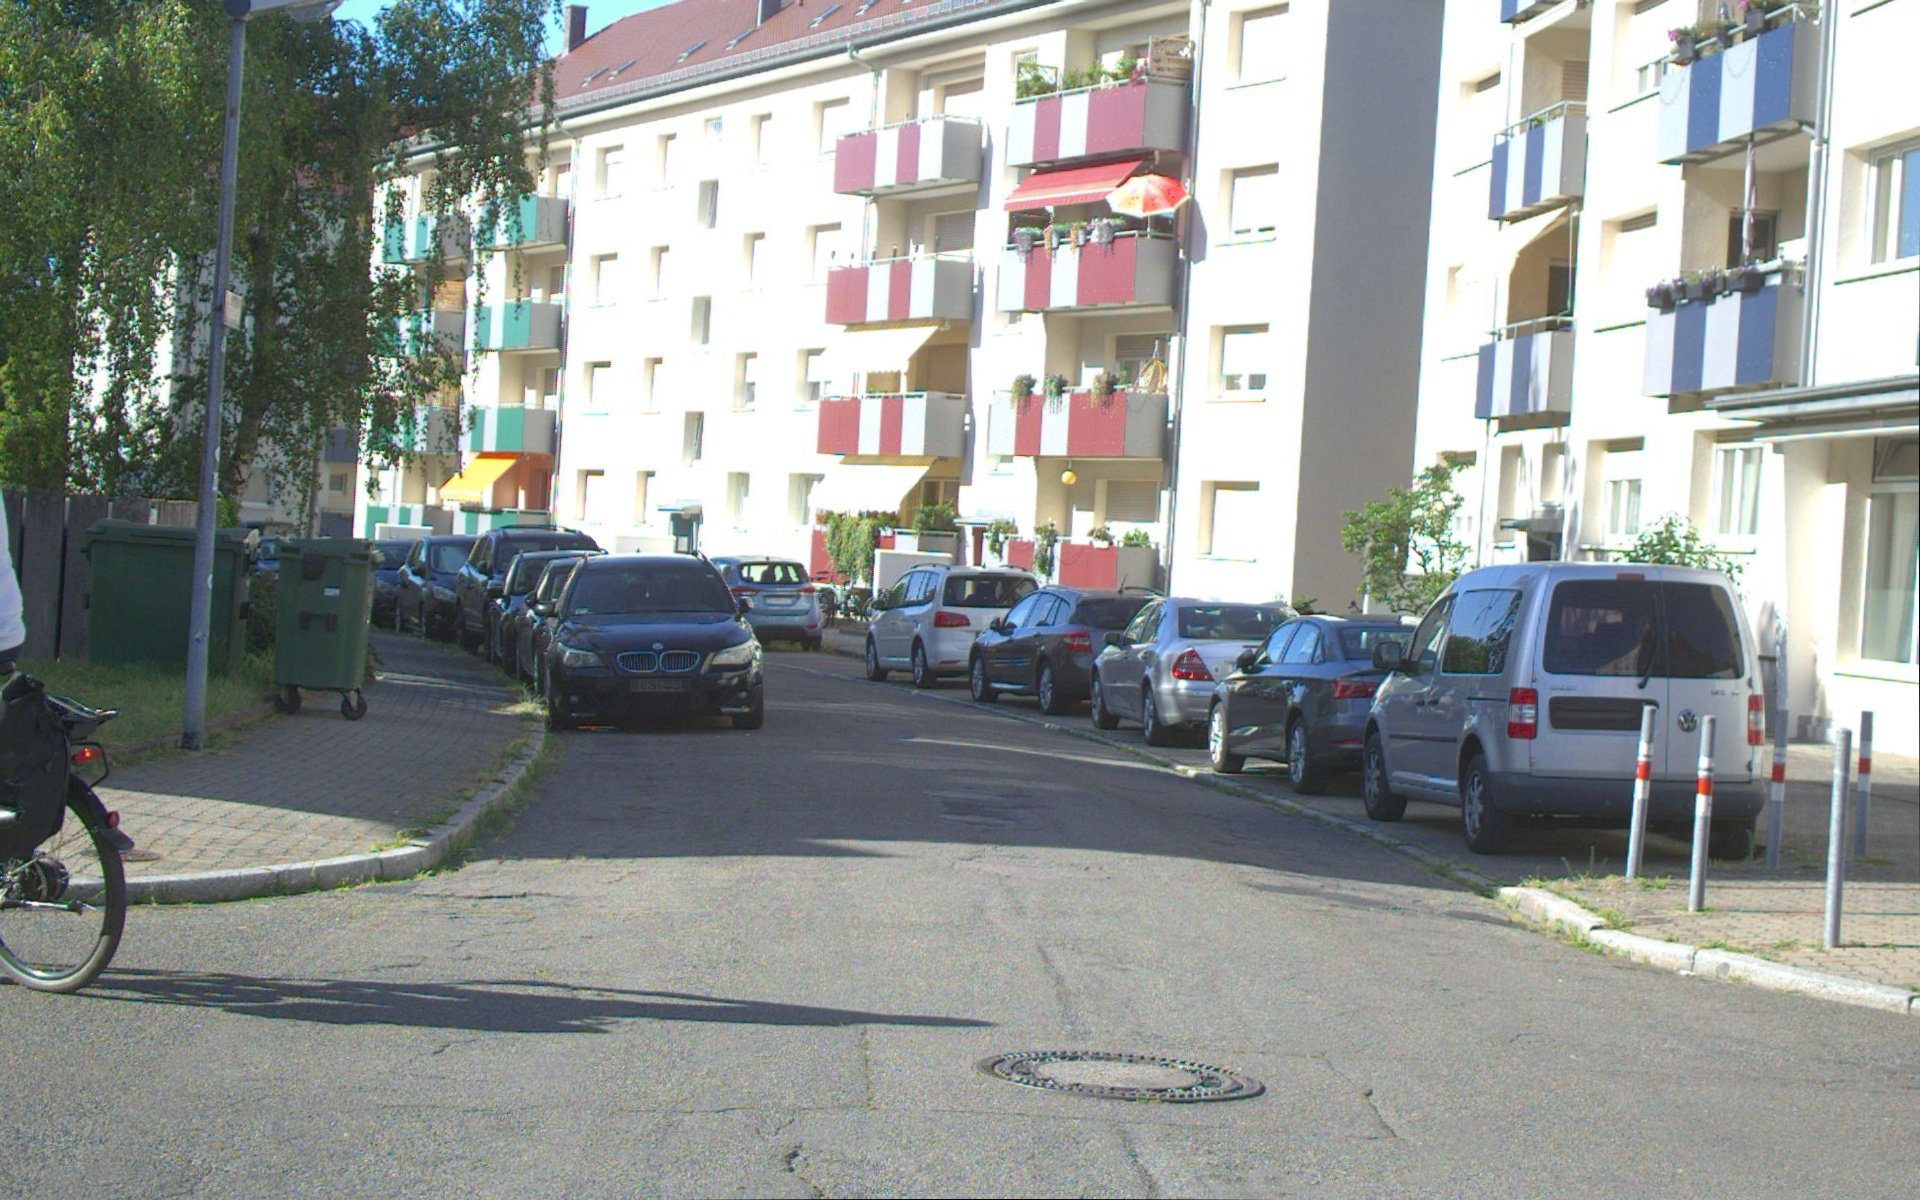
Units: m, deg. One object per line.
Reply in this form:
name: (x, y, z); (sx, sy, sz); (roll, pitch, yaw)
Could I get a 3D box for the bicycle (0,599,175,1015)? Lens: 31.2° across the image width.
bicycle: (-3.161, 0.533, 9.972); (1.814, 1.111, 0.628); (3, -1, 36)

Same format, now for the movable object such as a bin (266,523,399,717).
movable object such as a bin: (-4.762, 0.137, 26.172); (0.775, 1.388, 1.417); (3, 1, -4)

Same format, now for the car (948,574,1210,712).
car: (1.315, 0.459, 40.166); (1.693, 1.427, 4.689); (2, 0, -15)

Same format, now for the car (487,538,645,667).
car: (-4.719, 0.000, 40.801); (1.555, 1.437, 3.969); (1, 1, -11)

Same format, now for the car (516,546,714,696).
car: (-3.650, 0.178, 35.816); (1.677, 1.437, 4.281); (1, 1, -11)

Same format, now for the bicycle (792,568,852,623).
bicycle: (-2.737, -0.095, 67.854); (0.497, 1.016, 1.842); (2, 1, -24)

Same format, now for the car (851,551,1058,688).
car: (-0.128, 0.229, 46.759); (1.693, 1.650, 4.392); (2, 1, -15)

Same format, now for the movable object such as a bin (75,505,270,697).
movable object such as a bin: (-6.071, 0.003, 26.546); (1.220, 1.375, 0.767); (4, 0, 1)

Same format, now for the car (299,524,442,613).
car: (-10.581, -0.592, 61.482); (1.693, 1.384, 4.158); (3, 1, -21)

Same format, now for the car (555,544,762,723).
car: (-2.758, 0.245, 30.693); (1.677, 1.448, 4.621); (1, 1, -7)

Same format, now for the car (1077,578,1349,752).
car: (2.441, 0.590, 34.358); (1.677, 1.442, 4.725); (3, 1, -8)

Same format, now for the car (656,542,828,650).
car: (-3.783, -0.094, 59.068); (1.765, 1.630, 4.043); (1, 2, -21)

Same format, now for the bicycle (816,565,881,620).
bicycle: (-2.233, -0.158, 68.391); (0.617, 0.975, 1.896); (0, 3, -24)

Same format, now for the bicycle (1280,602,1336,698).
bicycle: (4.631, 0.657, 45.822); (0.514, 1.198, 1.761); (2, 1, 0)

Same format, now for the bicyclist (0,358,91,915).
bicyclist: (-3.094, 0.082, 9.944); (0.906, 1.573, 0.597); (4, 0, 36)

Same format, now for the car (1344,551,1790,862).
car: (3.860, 0.611, 22.578); (1.746, 1.818, 4.132); (1, 1, -6)

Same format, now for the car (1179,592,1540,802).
car: (3.187, 0.736, 28.347); (1.677, 1.402, 4.547); (3, 1, -10)

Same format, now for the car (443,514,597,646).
car: (-6.039, -0.301, 46.859); (1.555, 1.708, 4.339); (1, 1, -14)
